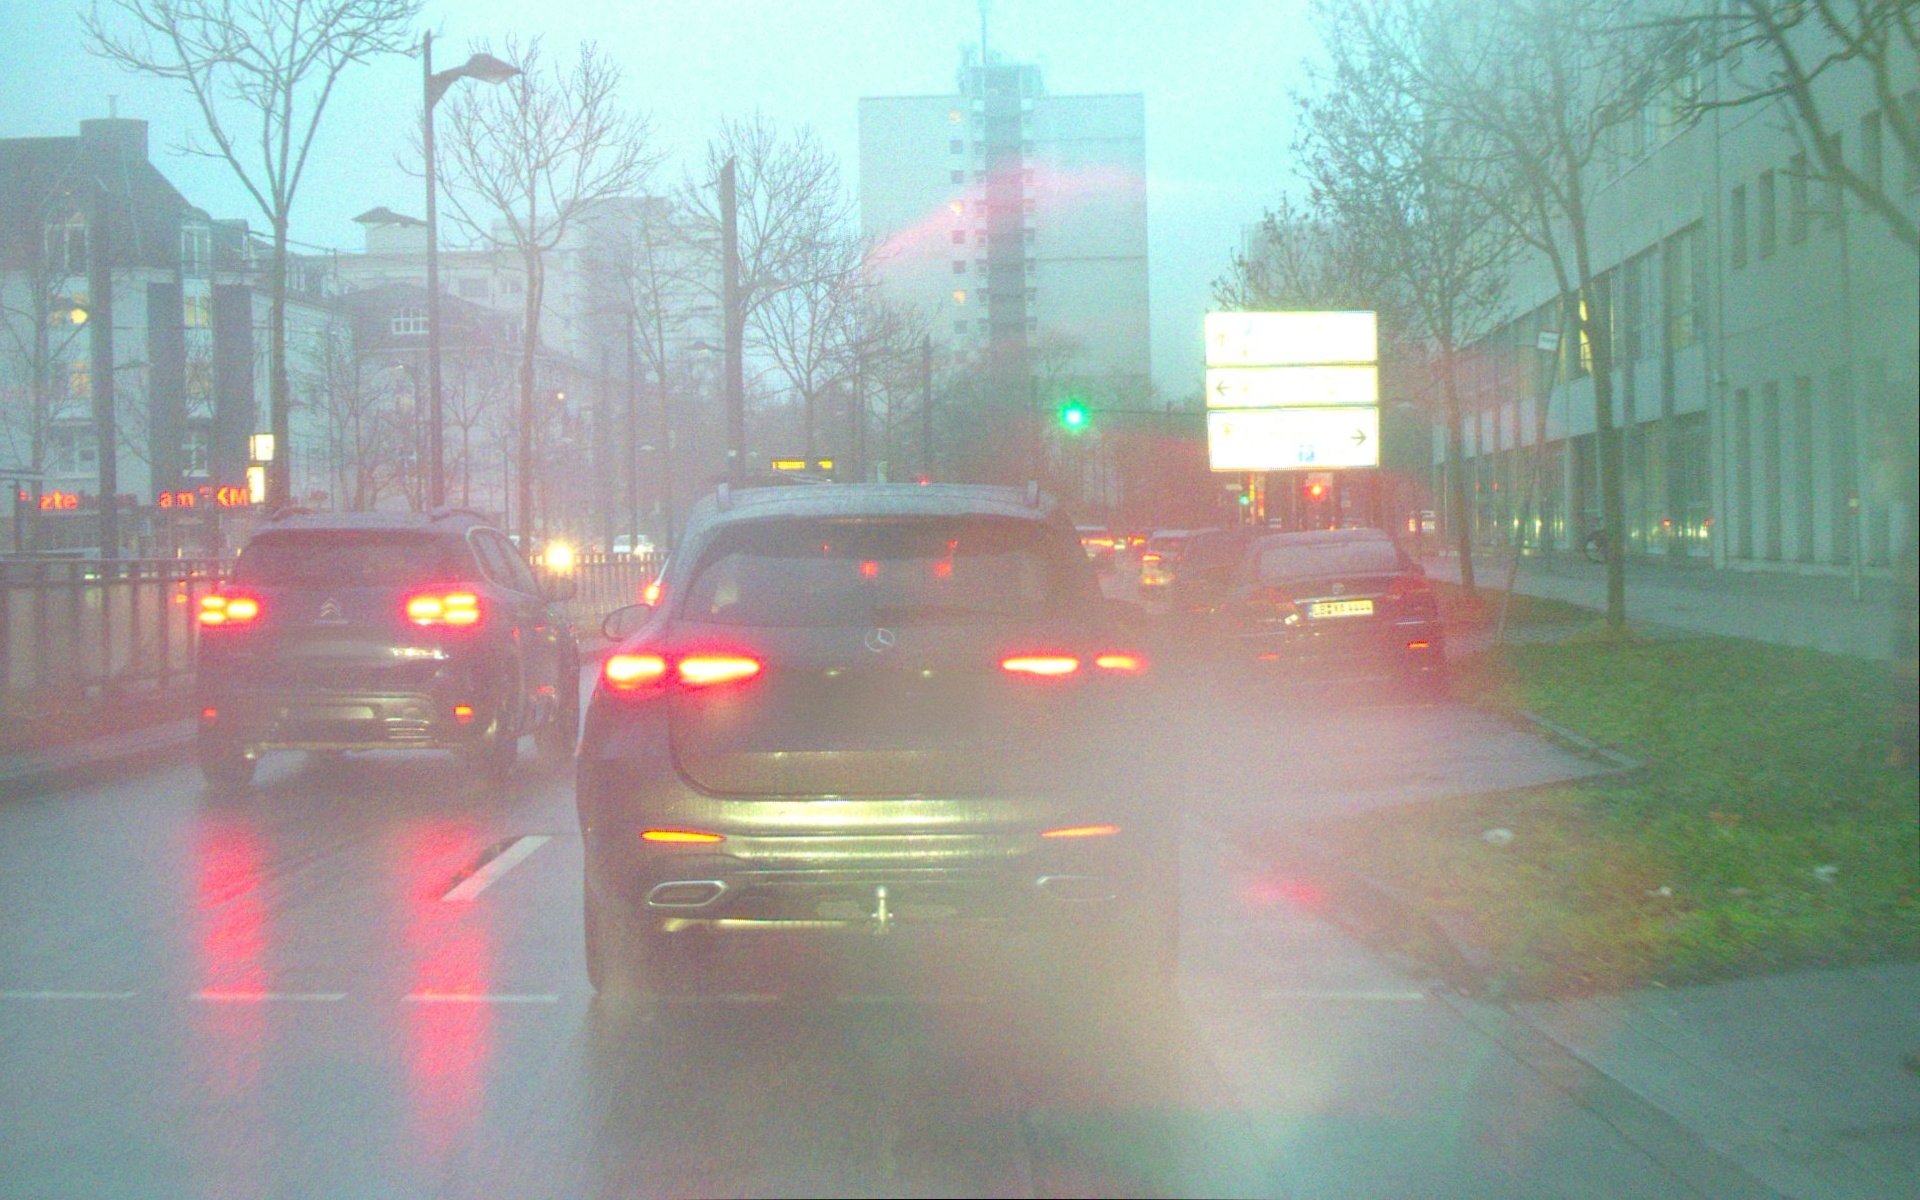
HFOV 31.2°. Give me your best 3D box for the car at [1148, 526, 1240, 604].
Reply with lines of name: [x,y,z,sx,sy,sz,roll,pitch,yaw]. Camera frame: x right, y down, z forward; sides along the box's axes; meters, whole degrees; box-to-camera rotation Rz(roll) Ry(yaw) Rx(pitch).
car: [5.242,-0.767,77.055,1.994,1.685,3.528,0,0,4]

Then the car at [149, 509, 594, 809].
car: [-3.608,0.332,21.883,1.993,1.706,4.324,0,0,1]

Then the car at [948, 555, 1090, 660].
car: [0.880,0.075,48.837,1.887,1.349,4.101,0,2,3]

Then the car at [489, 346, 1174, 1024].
car: [-0.378,0.242,12.098,1.993,1.969,4.068,0,0,0]

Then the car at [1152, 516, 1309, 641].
car: [3.208,-0.297,41.053,1.754,1.398,4.249,0,2,4]

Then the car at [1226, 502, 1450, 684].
car: [3.152,-0.062,29.328,1.596,1.435,4.228,0,0,2]

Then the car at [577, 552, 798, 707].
car: [-3.002,0.303,38.668,1.994,1.636,4.022,0,0,2]

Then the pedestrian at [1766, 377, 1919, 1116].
pedestrian: [2.609,0.337,8.797,0.770,1.802,0.699,-5,0,-1]

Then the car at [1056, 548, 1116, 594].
car: [4.158,-0.949,113.140,1.771,1.497,3.368,0,0,5]

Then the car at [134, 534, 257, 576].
car: [-25.819,-1.509,116.151,3.798,1.362,1.698,0,0,-2]
